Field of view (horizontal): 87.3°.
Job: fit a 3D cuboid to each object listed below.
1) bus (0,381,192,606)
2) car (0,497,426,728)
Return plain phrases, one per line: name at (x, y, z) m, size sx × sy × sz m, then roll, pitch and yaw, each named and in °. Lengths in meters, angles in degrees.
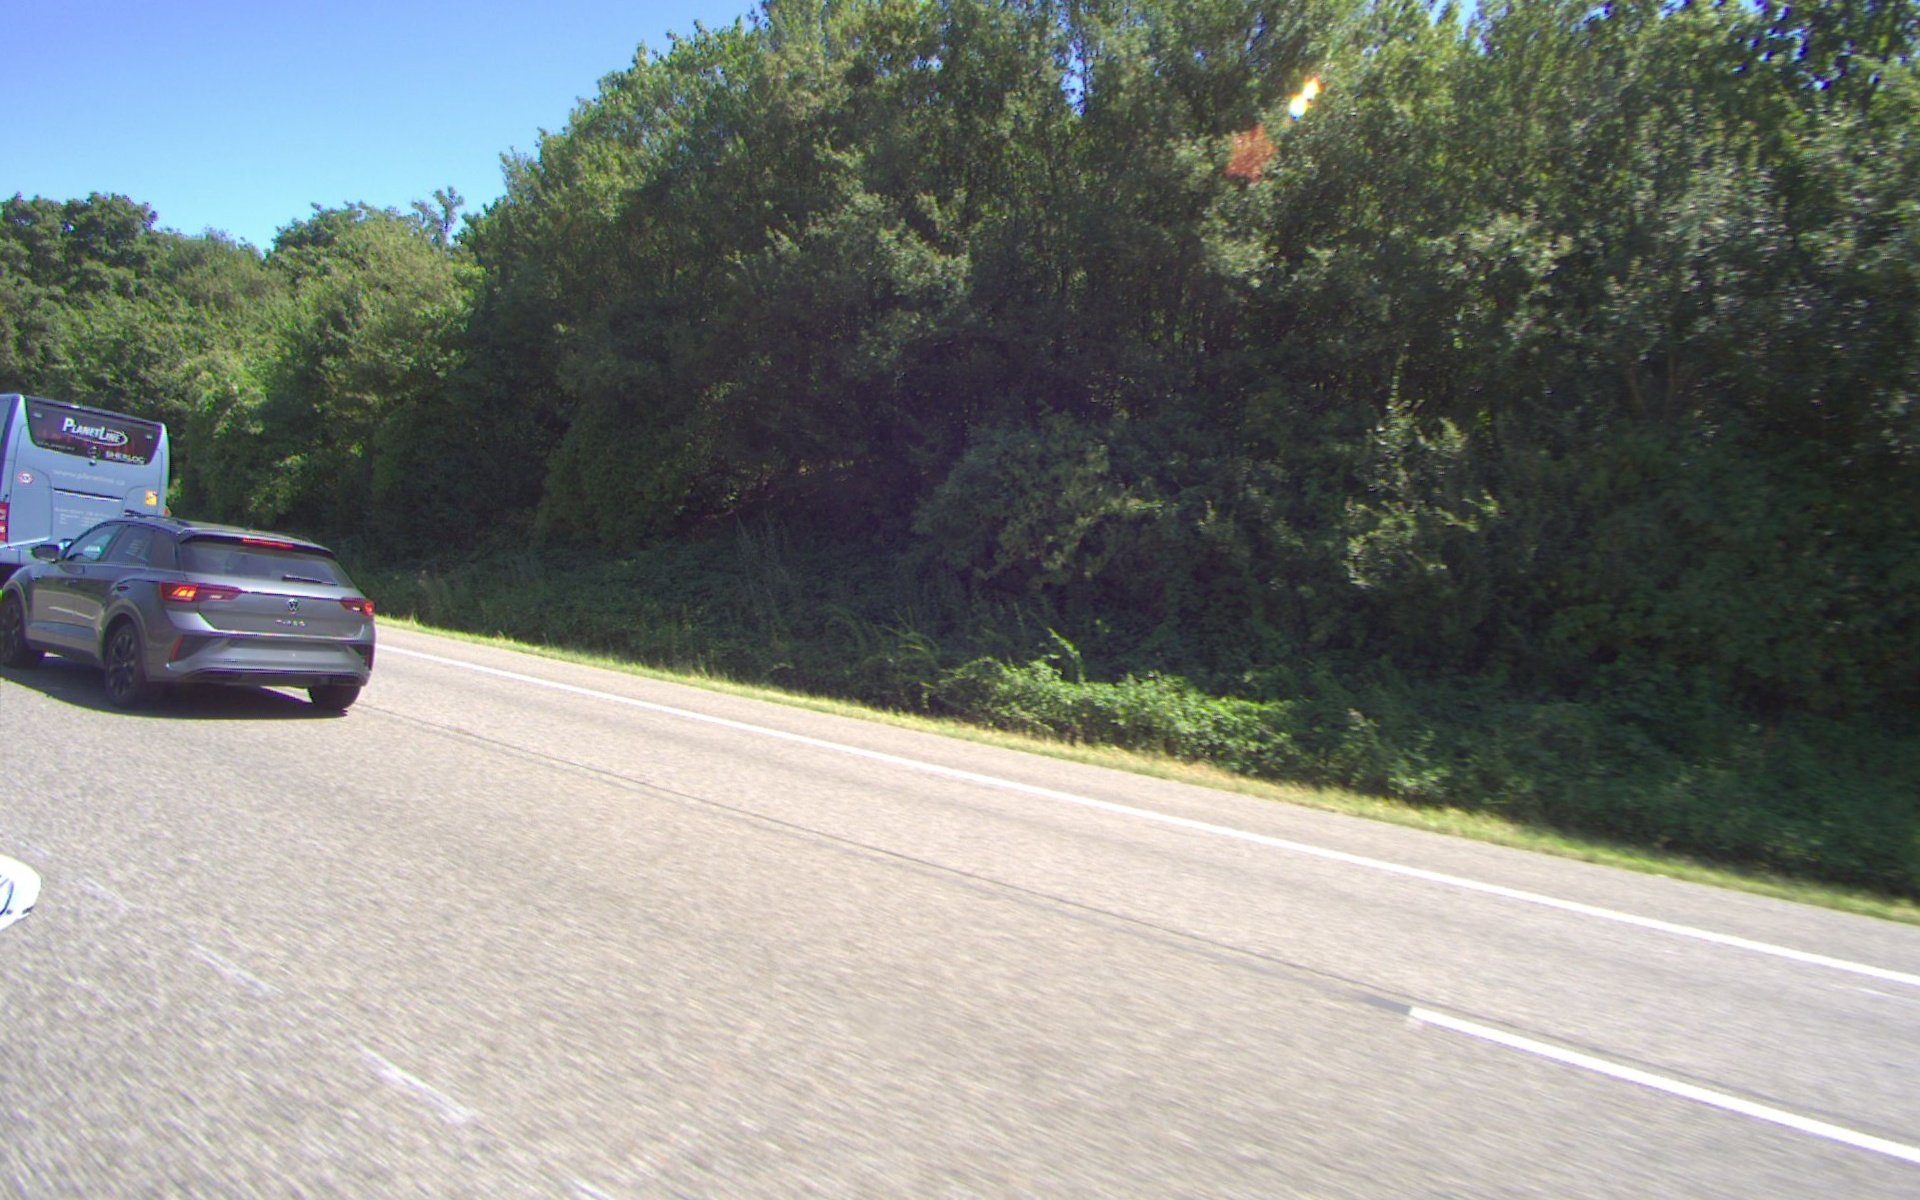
bus at (-21.077, -2.371, 21.664) m, size 12.268 × 3.639 × 2.806 m, roll 6°, pitch -1°, yaw 32°
car at (-7.375, 0.036, 9.450) m, size 4.680 × 1.550 × 1.903 m, roll 7°, pitch -1°, yaw 31°
